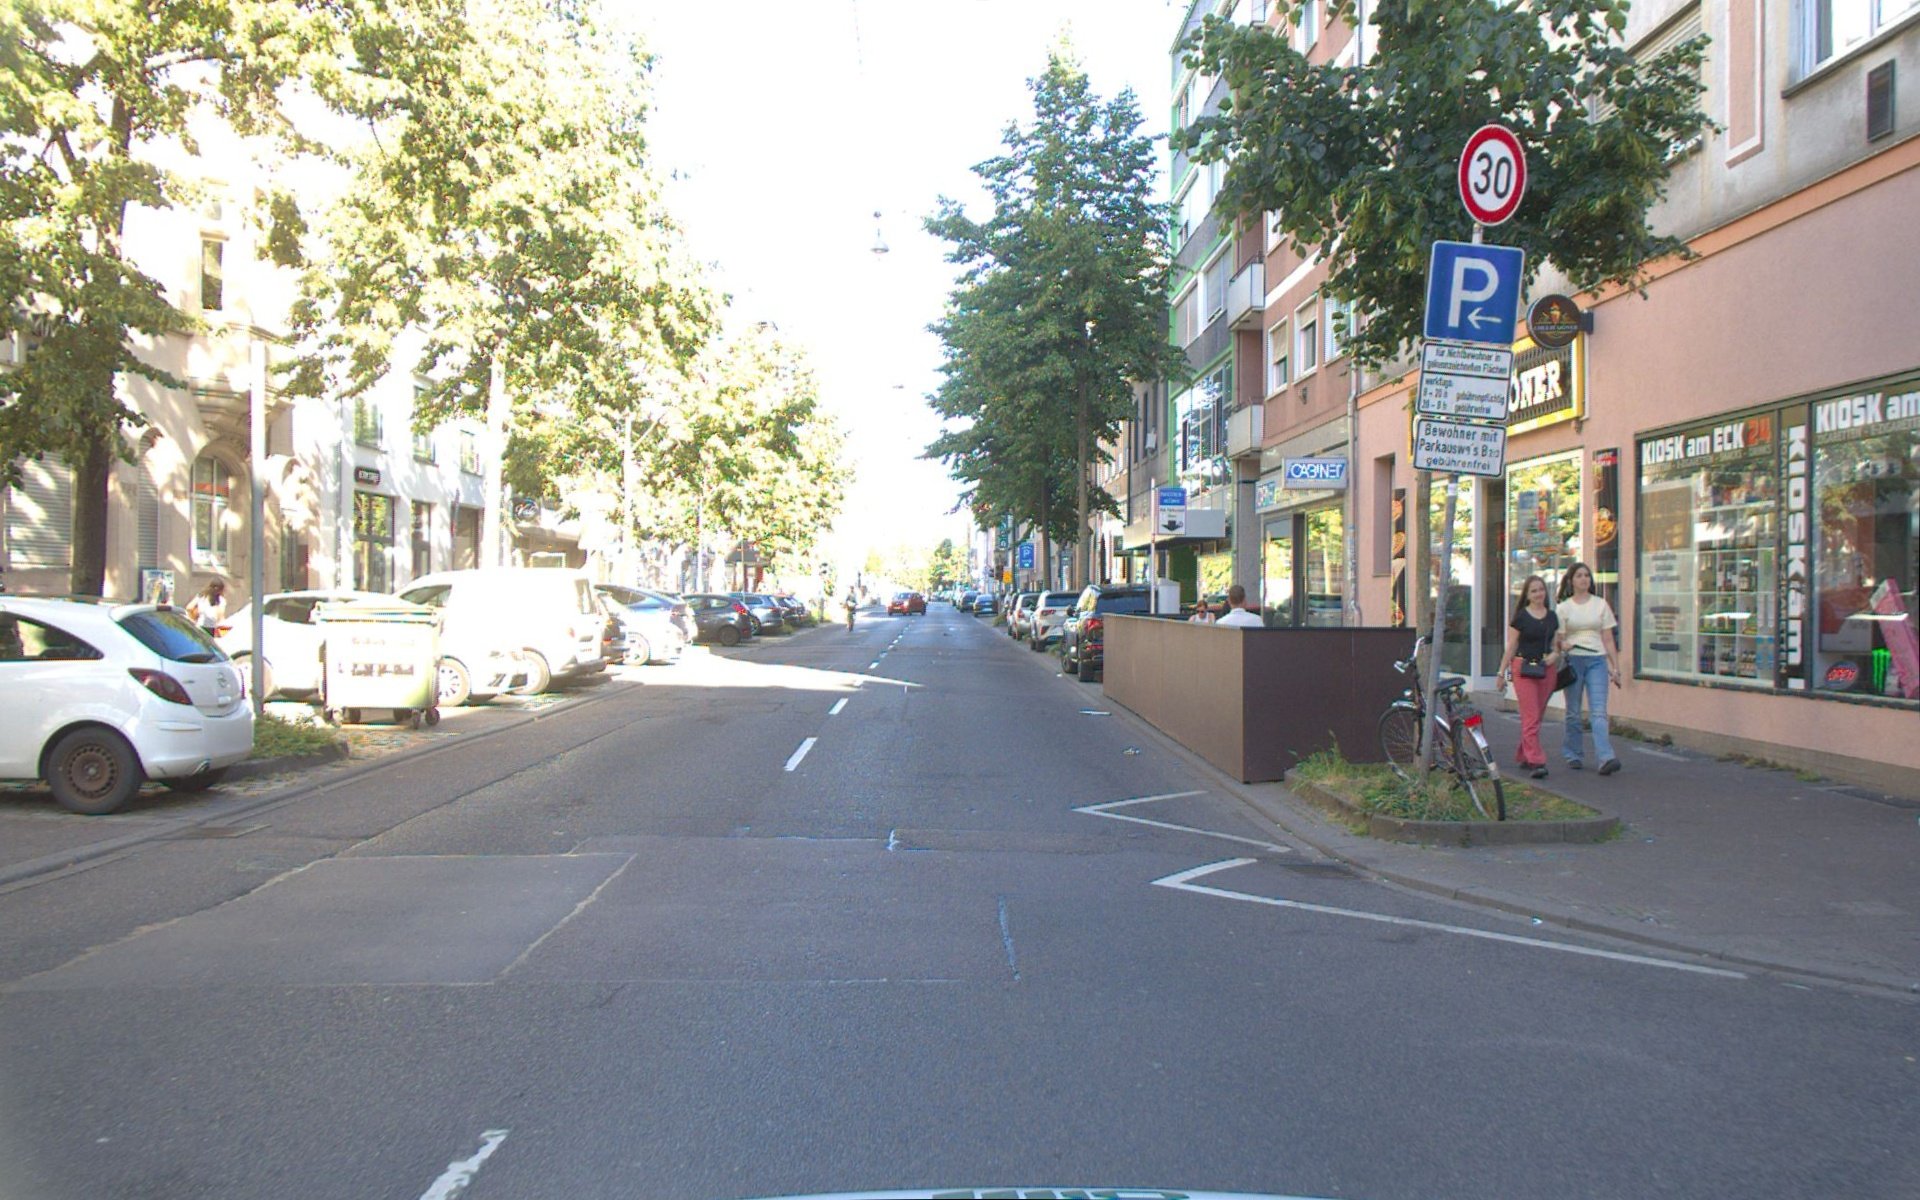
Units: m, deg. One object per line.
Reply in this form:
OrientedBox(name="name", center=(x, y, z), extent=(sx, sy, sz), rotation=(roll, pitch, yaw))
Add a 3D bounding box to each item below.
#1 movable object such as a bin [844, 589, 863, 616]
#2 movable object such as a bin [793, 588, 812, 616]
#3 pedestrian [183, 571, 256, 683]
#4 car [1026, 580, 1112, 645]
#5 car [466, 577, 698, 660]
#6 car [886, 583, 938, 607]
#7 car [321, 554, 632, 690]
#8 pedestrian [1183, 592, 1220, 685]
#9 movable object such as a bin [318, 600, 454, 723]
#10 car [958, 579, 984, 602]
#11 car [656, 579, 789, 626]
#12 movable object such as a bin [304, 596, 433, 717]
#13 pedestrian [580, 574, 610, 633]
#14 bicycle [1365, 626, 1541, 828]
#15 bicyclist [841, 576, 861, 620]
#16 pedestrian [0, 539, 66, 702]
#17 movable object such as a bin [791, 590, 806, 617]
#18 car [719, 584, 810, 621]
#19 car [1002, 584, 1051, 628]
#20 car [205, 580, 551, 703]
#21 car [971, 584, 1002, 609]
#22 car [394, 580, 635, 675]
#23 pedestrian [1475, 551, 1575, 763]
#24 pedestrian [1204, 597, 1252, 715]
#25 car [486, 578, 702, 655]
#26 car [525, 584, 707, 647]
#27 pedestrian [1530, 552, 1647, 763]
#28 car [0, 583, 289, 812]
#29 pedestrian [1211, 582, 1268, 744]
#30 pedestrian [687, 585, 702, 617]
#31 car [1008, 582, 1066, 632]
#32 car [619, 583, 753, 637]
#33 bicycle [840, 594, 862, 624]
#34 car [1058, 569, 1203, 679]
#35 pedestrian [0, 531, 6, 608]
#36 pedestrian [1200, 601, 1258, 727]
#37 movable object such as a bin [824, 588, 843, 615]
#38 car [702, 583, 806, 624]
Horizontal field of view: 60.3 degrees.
OrientedBox(name="movable object such as a bin", center=(-5.930, 0.140, 92.233), extent=(1.021, 1.497, 1.452), rotation=(0, 0, -2))
OrientedBox(name="movable object such as a bin", center=(-8.763, 0.110, 92.082), extent=(0.944, 1.497, 1.143), rotation=(0, 0, -2))
OrientedBox(name="pedestrian", center=(-10.457, 0.375, 23.372), extent=(0.580, 1.520, 0.842), rotation=(3, 0, 0))
OrientedBox(name="car", center=(2.814, 0.289, 43.561), extent=(1.845, 1.553, 4.233), rotation=(-2, 1, -2))
OrientedBox(name="car", center=(-7.661, 0.362, 33.793), extent=(4.277, 1.597, 1.946), rotation=(1, 0, -1))
OrientedBox(name="car", center=(-3.246, -0.339, 112.007), extent=(1.629, 1.562, 3.748), rotation=(-1, 1, 34))
OrientedBox(name="car", center=(-7.144, 0.303, 24.778), extent=(4.022, 1.868, 2.038), rotation=(1, 0, -1))
OrientedBox(name="pedestrian", center=(3.600, 0.562, 24.620), extent=(0.462, 1.354, 0.483), rotation=(1, 0, 16))
OrientedBox(name="movable object such as a bin", center=(-6.359, 0.667, 18.374), extent=(1.212, 1.325, 0.870), rotation=(0, 0, -2))
OrientedBox(name="car", center=(0.874, -0.784, 131.317), extent=(1.933, 1.755, 4.823), rotation=(2, 1, -1))
OrientedBox(name="car", center=(-8.336, 0.092, 58.348), extent=(4.403, 1.484, 1.789), rotation=(2, 0, -3))
OrientedBox(name="movable object such as a bin", center=(-6.885, 0.643, 19.316), extent=(1.168, 1.369, 0.931), rotation=(1, 0, -2))
OrientedBox(name="pedestrian", center=(-11.508, 0.110, 52.149), extent=(0.684, 1.829, 0.746), rotation=(0, 0, 11))
OrientedBox(name="bicycle", center=(3.294, 0.795, 11.235), extent=(0.497, 1.184, 2.144), rotation=(0, 1, -2))
OrientedBox(name="bicyclist", center=(-4.367, -0.075, 66.312), extent=(0.710, 1.730, 1.282), rotation=(0, 0, -1))
OrientedBox(name="pedestrian", center=(-9.972, 0.202, 17.481), extent=(0.554, 1.655, 0.726), rotation=(4, 0, -3))
OrientedBox(name="movable object such as a bin", center=(-8.323, 0.173, 85.207), extent=(0.739, 1.364, 0.805), rotation=(0, 0, -2))
OrientedBox(name="car", center=(-8.264, 0.081, 70.098), extent=(3.672, 1.494, 1.739), rotation=(1, 0, -2))
OrientedBox(name="car", center=(2.463, 0.219, 61.769), extent=(1.581, 1.555, 3.060), rotation=(-2, 0, -2))
OrientedBox(name="car", center=(-7.626, 0.516, 21.954), extent=(3.898, 1.489, 1.887), rotation=(1, 1, -1))
OrientedBox(name="car", center=(1.775, -0.251, 111.722), extent=(1.879, 1.504, 4.964), rotation=(-4, 0, -1))
OrientedBox(name="car", center=(-7.732, 0.460, 28.978), extent=(3.722, 1.585, 1.791), rotation=(1, 0, -1))
OrientedBox(name="pedestrian", center=(4.608, 0.449, 13.516), extent=(0.503, 1.673, 0.748), rotation=(-1, 0, -2))
OrientedBox(name="pedestrian", center=(3.206, 0.656, 19.798), extent=(0.463, 1.386, 0.594), rotation=(1, 0, 0))
OrientedBox(name="car", center=(-7.934, 0.341, 36.159), extent=(4.277, 1.597, 1.980), rotation=(1, 0, -1))
OrientedBox(name="car", center=(-8.418, 0.376, 40.821), extent=(4.162, 1.484, 1.978), rotation=(1, 0, -5))
OrientedBox(name="pedestrian", center=(5.166, 0.453, 13.636), extent=(0.628, 1.673, 0.748), rotation=(-1, 0, -2))
OrientedBox(name="car", center=(-7.018, 0.634, 11.853), extent=(3.703, 1.489, 1.709), rotation=(1, 0, -4))
OrientedBox(name="pedestrian", center=(2.739, 0.608, 16.246), extent=(0.463, 1.556, 0.462), rotation=(1, 0, 0))
OrientedBox(name="pedestrian", center=(-12.138, 0.047, 75.610), extent=(0.497, 1.433, 0.825), rotation=(1, 1, 3))
OrientedBox(name="car", center=(2.555, 0.209, 55.929), extent=(1.581, 1.555, 4.233), rotation=(-3, 0, -2))
OrientedBox(name="car", center=(-7.847, 0.279, 47.534), extent=(3.709, 1.484, 1.778), rotation=(1, 0, -8))
OrientedBox(name="bicycle", center=(-4.369, 0.349, 66.404), extent=(0.710, 1.189, 2.197), rotation=(0, 1, 0))
OrientedBox(name="car", center=(2.967, 0.379, 29.766), extent=(1.953, 1.719, 4.515), rotation=(-3, 1, -1))
OrientedBox(name="pedestrian", center=(-10.723, 0.131, 17.443), extent=(0.759, 1.796, 0.763), rotation=(4, 0, -3))
OrientedBox(name="pedestrian", center=(3.055, 0.715, 18.808), extent=(0.541, 1.403, 0.594), rotation=(1, 0, 0))
OrientedBox(name="movable object such as a bin", center=(-7.044, 0.087, 92.106), extent=(1.021, 1.497, 1.143), rotation=(0, 0, -2))
OrientedBox(name="car", center=(-8.087, 0.127, 65.060), extent=(3.838, 1.511, 1.771), rotation=(1, 0, 0))
